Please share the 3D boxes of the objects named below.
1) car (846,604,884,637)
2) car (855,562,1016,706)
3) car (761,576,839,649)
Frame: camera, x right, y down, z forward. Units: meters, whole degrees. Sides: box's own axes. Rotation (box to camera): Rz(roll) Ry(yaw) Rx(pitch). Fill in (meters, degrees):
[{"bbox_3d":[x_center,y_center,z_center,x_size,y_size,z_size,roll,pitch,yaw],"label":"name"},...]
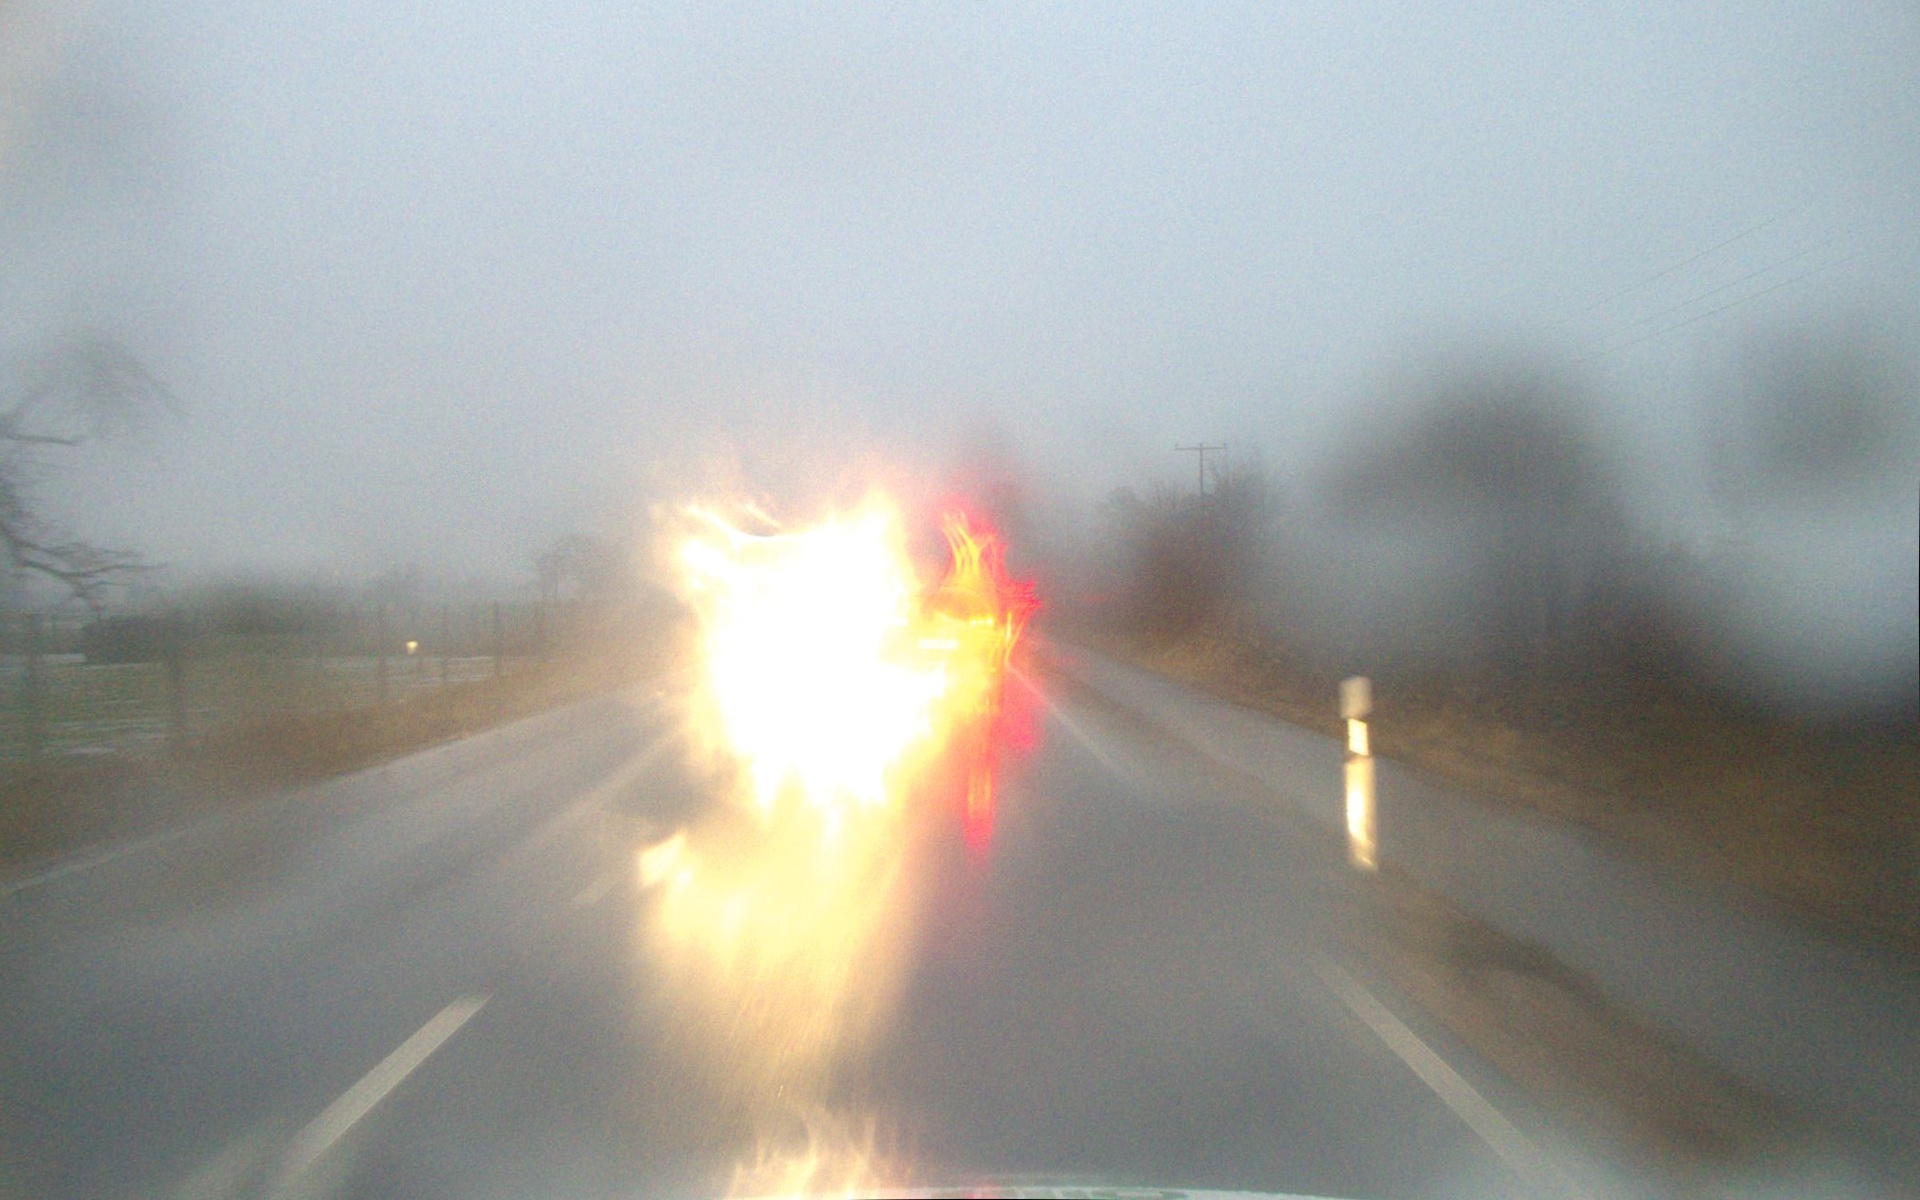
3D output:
[{"bbox_3d":[-4.618,0.965,80.834,1.654,1.505,3.773,-1,0,-1],"label":"car"},{"bbox_3d":[-0.348,0.416,23.822,2.077,1.851,4.979,0,0,-1],"label":"car"},{"bbox_3d":[-4.371,0.305,45.738,1.787,1.838,4.492,-2,0,-2],"label":"car"}]
